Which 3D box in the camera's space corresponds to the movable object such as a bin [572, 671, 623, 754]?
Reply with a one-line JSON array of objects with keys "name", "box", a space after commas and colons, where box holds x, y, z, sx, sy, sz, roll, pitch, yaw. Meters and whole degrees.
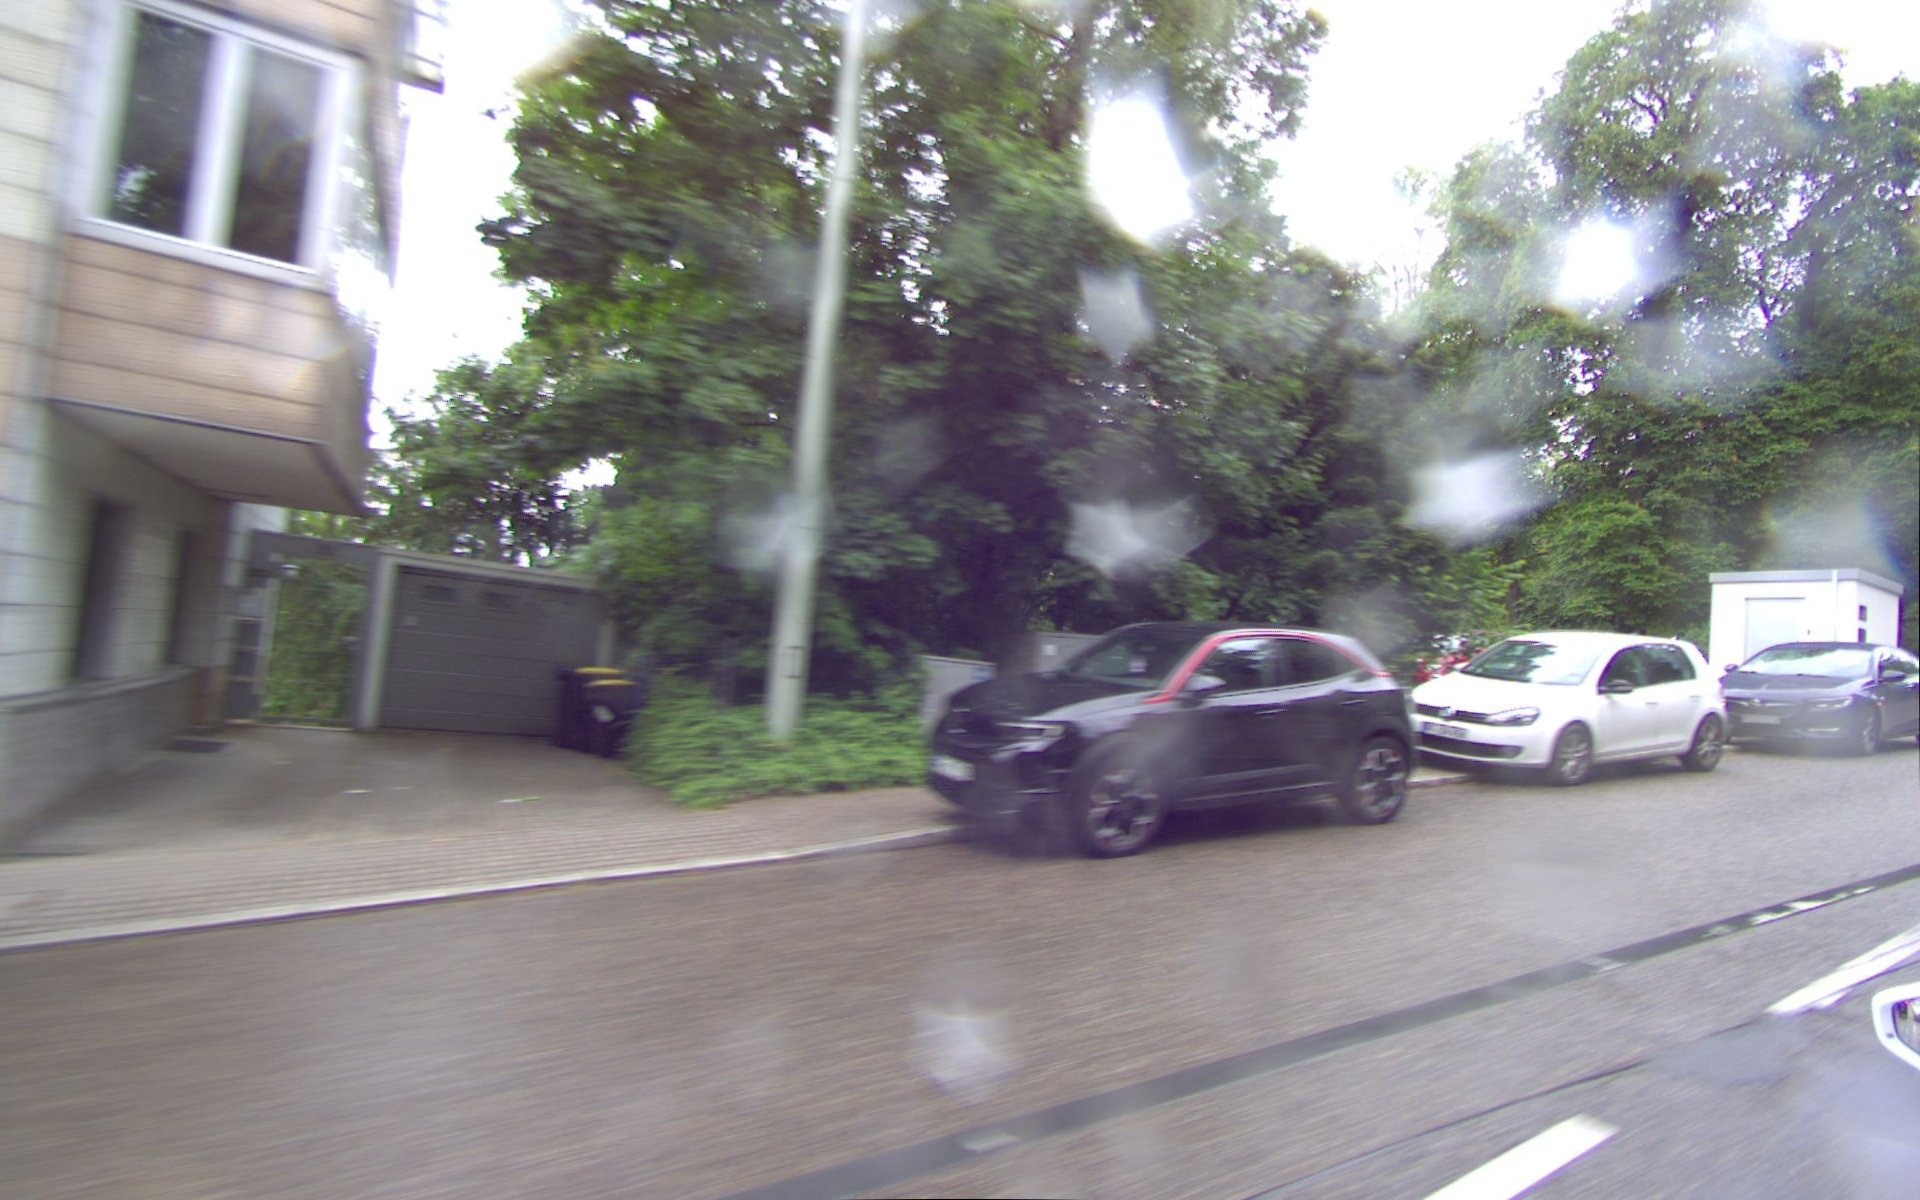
[{"name": "movable object such as a bin", "box": [-4.668, 1.433, 12.927, 0.533, 1.001, 0.504, 1, -2, -31]}]

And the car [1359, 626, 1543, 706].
[{"name": "car", "box": [9.934, 1.279, 20.266, 3.732, 1.478, 1.613, 2, -2, -31]}]

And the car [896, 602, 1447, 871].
[{"name": "car", "box": [1.710, 0.920, 7.823, 4.134, 1.625, 1.638, 2, -4, -29]}]

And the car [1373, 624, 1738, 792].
[{"name": "car", "box": [6.698, 1.081, 11.229, 4.097, 1.590, 1.649, 1, -2, -29]}]

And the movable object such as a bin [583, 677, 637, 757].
[{"name": "movable object such as a bin", "box": [-4.358, 1.445, 12.499, 0.533, 0.937, 0.504, 1, -2, -31]}]

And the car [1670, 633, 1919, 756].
[{"name": "car", "box": [12.396, 1.287, 14.451, 4.703, 1.512, 1.850, 2, -5, -32]}]

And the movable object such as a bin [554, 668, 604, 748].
[{"name": "movable object such as a bin", "box": [-5.078, 1.426, 13.373, 0.533, 1.001, 0.504, 1, -2, -31]}]

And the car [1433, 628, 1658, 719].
[{"name": "car", "box": [10.741, 1.271, 18.344, 4.346, 1.478, 1.714, 2, -2, -31]}]

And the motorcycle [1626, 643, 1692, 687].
[{"name": "motorcycle", "box": [19.792, 1.815, 28.418, 2.250, 1.204, 0.598, 1, -1, -29]}]
